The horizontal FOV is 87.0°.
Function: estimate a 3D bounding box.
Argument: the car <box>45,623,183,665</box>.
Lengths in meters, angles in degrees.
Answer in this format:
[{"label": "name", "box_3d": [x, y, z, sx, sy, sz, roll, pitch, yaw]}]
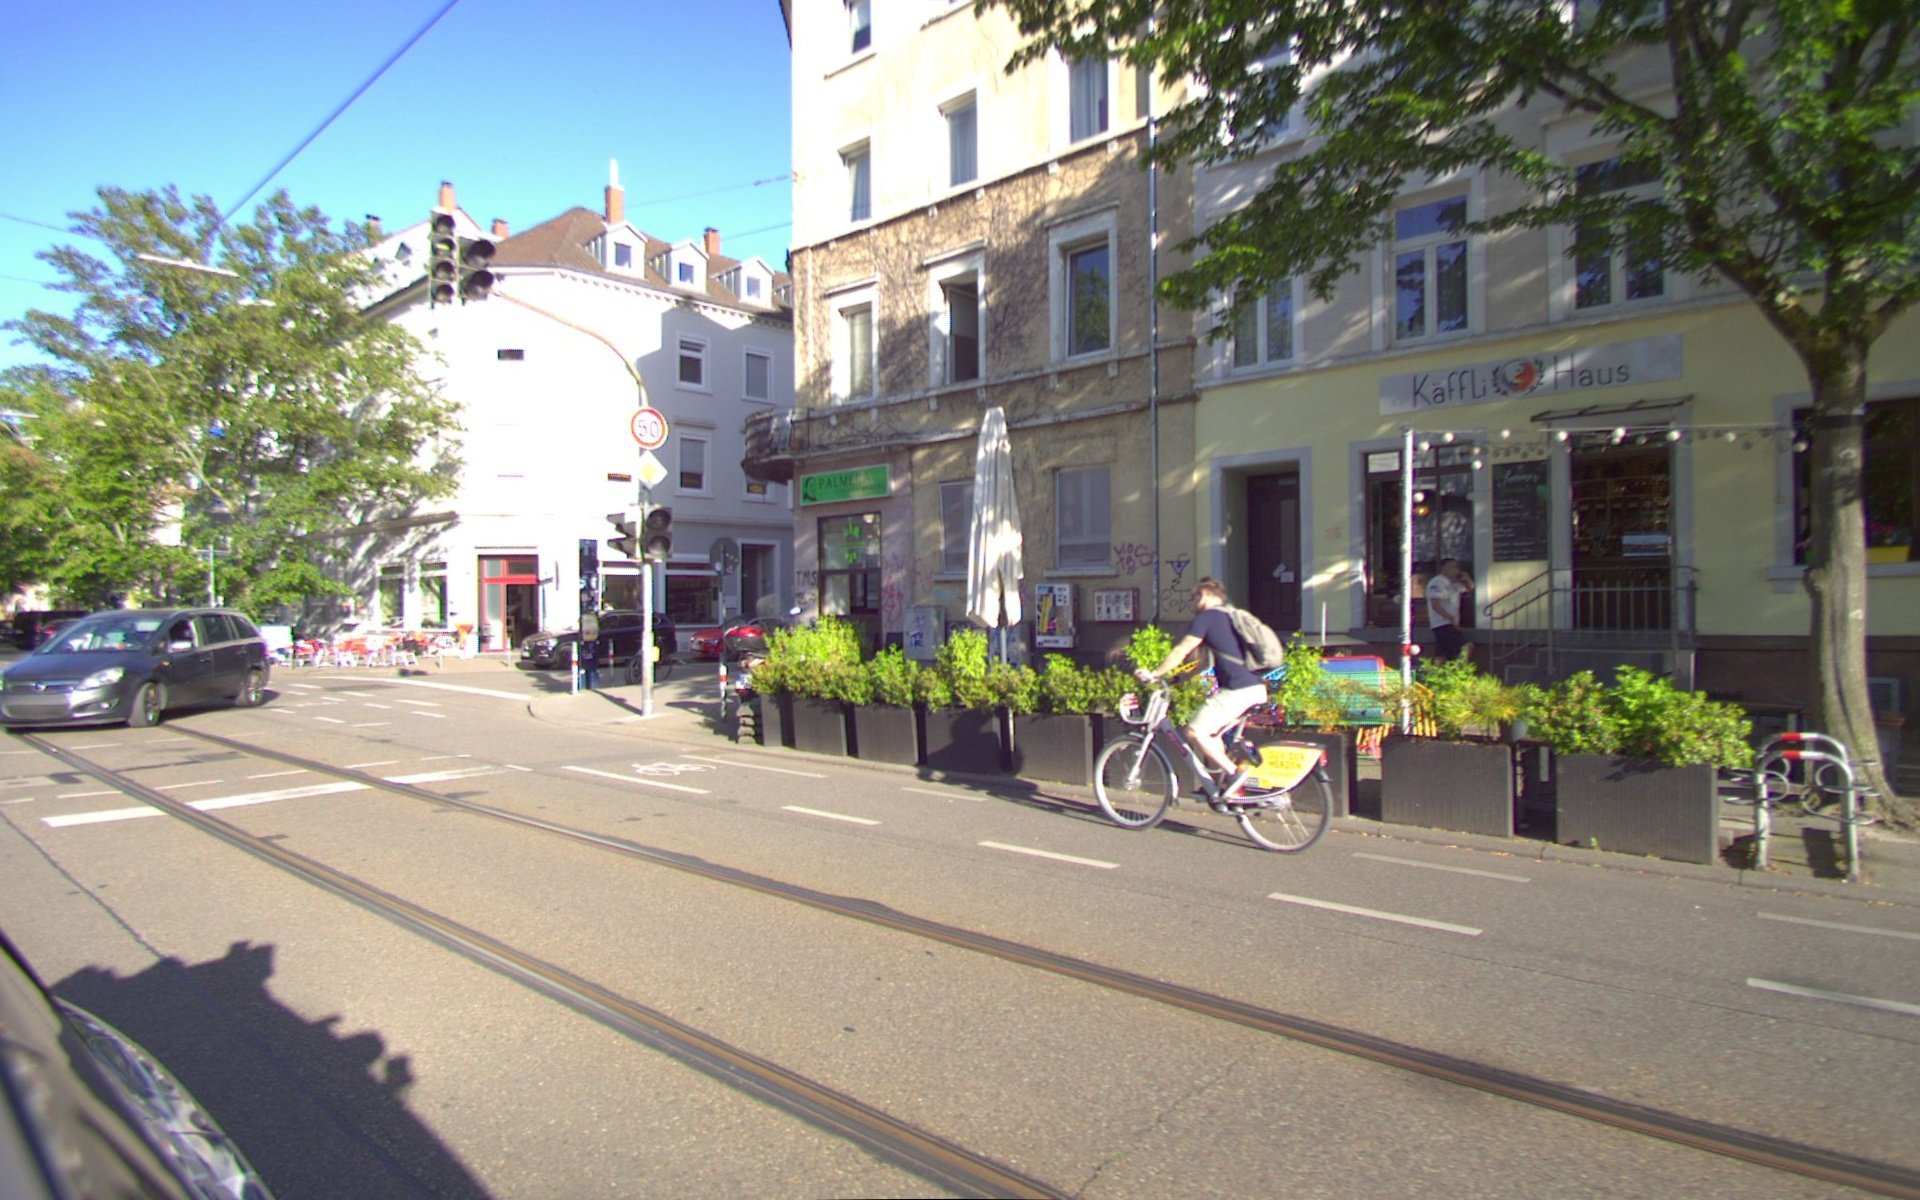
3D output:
[{"label": "car", "box_3d": [-34.543, 1.753, 41.419, 1.616, 1.499, 4.088, 0, 1, 34]}]

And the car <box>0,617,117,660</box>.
[{"label": "car", "box_3d": [-43.572, 1.824, 48.945, 1.867, 1.901, 4.127, 0, 0, 7]}]

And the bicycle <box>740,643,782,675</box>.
[{"label": "bicycle", "box_3d": [-5.389, 1.600, 27.396, 1.311, 0.824, 0.351, -1, -2, 38]}]

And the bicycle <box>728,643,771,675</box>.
[{"label": "bicycle", "box_3d": [-5.635, 1.575, 27.111, 1.311, 0.824, 0.367, -1, -2, 38]}]

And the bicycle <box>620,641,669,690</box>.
[{"label": "bicycle", "box_3d": [-7.131, 1.469, 22.942, 0.445, 1.054, 1.661, 0, -2, 6]}]

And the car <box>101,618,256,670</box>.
[{"label": "car", "box_3d": [-27.205, 1.489, 35.396, 1.608, 1.567, 4.108, 0, 0, 20]}]

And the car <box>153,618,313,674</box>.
[{"label": "car", "box_3d": [-23.306, 1.419, 32.648, 1.605, 1.567, 4.115, 0, 0, 16]}]

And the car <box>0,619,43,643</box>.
[{"label": "car", "box_3d": [-61.545, 1.997, 64.662, 1.611, 1.499, 4.102, 0, 0, 24]}]

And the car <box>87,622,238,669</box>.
[{"label": "car", "box_3d": [-29.422, 1.627, 37.477, 1.612, 1.499, 4.099, 0, 1, 26]}]

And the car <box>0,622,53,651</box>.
[{"label": "car", "box_3d": [-59.000, 2.281, 62.544, 1.611, 1.674, 4.102, 0, 0, 24]}]

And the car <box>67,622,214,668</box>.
[{"label": "car", "box_3d": [-31.153, 1.664, 38.614, 1.611, 1.499, 4.100, 0, 1, 25]}]

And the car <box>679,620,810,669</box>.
[{"label": "car", "box_3d": [-6.985, 1.426, 32.974, 1.651, 1.514, 3.896, -4, -3, 45]}]

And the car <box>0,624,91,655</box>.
[{"label": "car", "box_3d": [-51.089, 2.170, 56.197, 1.619, 1.499, 4.081, 0, 1, 39]}]

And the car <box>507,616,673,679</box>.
[{"label": "car", "box_3d": [-10.574, 1.316, 29.090, 1.767, 1.675, 4.135, -4, -3, 45]}]

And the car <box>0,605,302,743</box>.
[{"label": "car", "box_3d": [-12.039, 0.965, 15.060, 1.771, 1.675, 5.193, -1, -1, -8]}]

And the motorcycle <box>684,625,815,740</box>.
[{"label": "motorcycle", "box_3d": [-2.874, 1.087, 14.166, 0.989, 1.361, 2.414, 0, 1, 9]}]

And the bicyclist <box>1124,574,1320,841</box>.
[{"label": "bicyclist", "box_3d": [1.710, 0.650, 6.625, 1.027, 1.584, 0.717, -2, -2, 39]}]

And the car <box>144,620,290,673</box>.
[{"label": "car", "box_3d": [-24.999, 1.522, 34.240, 1.601, 1.567, 4.127, 0, 0, 7]}]

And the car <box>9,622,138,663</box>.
[{"label": "car", "box_3d": [-37.459, 1.755, 42.896, 1.601, 1.499, 4.127, 0, 0, 7]}]

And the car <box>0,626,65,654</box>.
[{"label": "car", "box_3d": [-54.595, 2.307, 58.439, 1.611, 1.499, 4.102, 0, 0, 24]}]

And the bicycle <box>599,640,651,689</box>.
[{"label": "bicycle", "box_3d": [-7.598, 1.463, 23.031, 0.453, 1.054, 1.684, 0, -3, 6]}]

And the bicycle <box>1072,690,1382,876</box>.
[{"label": "bicycle", "box_3d": [1.690, 1.121, 6.630, 1.882, 0.960, 0.604, -2, -2, 39]}]

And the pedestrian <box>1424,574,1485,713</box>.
[{"label": "pedestrian", "box_3d": [6.109, 0.530, 12.504, 0.569, 1.655, 0.533, -2, -3, 38]}]
